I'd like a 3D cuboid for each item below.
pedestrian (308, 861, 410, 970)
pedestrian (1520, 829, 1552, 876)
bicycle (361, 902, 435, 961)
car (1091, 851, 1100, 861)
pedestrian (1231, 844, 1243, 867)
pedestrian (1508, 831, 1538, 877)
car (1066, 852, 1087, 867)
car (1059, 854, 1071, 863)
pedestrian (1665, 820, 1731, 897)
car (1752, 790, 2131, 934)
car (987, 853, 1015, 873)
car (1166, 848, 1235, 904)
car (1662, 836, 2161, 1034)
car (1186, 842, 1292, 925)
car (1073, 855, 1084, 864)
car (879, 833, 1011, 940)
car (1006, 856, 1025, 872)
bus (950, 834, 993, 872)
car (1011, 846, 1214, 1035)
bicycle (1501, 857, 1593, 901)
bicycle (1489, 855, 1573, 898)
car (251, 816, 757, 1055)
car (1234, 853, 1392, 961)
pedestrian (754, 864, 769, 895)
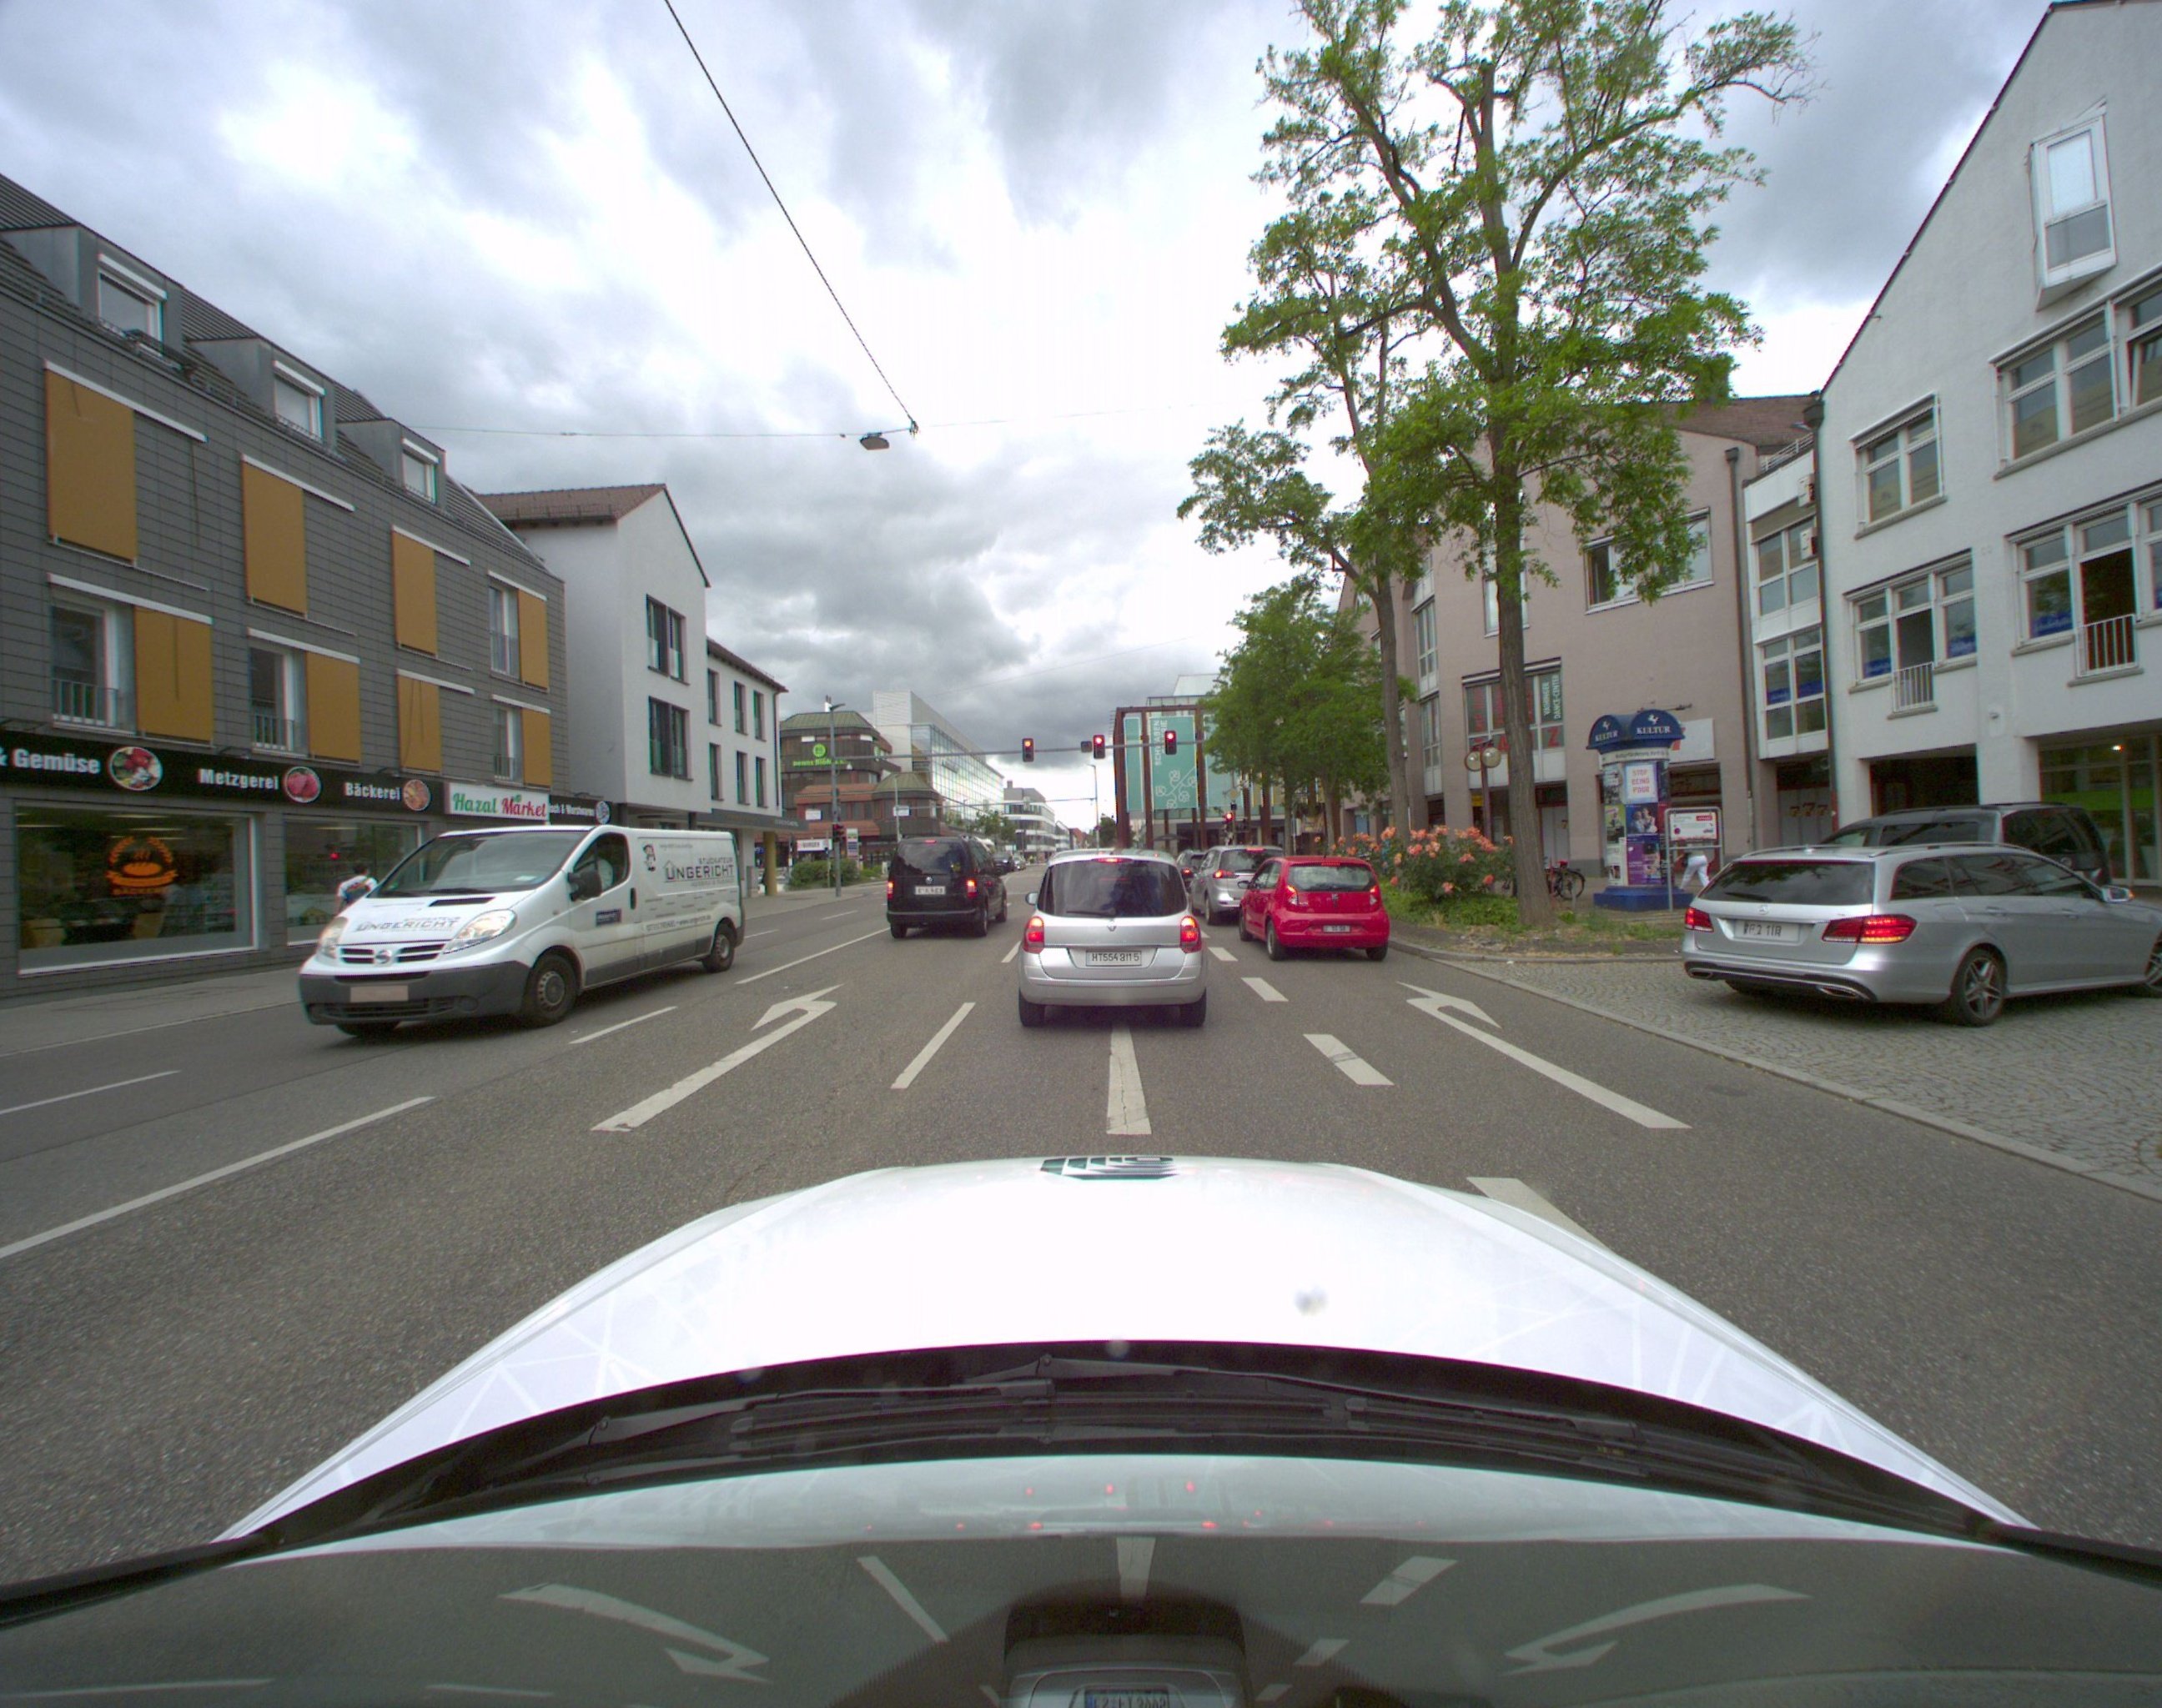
[{"bbox_3d":[-11.869,0.978,13.423,0.751,1.705,0.981,1,0,1],"label":"pedestrian"},{"bbox_3d":[15.426,-0.046,27.614,0.665,1.563,0.618,-2,0,-20],"label":"pedestrian"},{"bbox_3d":[-12.664,1.413,15.144,0.325,0.954,1.478,-2,0,-9],"label":"bicycle"},{"bbox_3d":[3.171,0.398,177.936,1.987,1.949,4.951,-2,0,1],"label":"car"},{"bbox_3d":[11.575,0.091,60.429,0.652,1.650,0.557,-2,0,-13],"label":"pedestrian"},{"bbox_3d":[14.850,-0.008,27.368,0.611,1.515,0.618,-2,0,-20],"label":"pedestrian"},{"bbox_3d":[-0.520,0.595,94.635,1.907,1.677,4.249,-2,0,6],"label":"car"},{"bbox_3d":[-3.018,0.821,152.310,1.793,1.540,4.068,-2,0,3],"label":"car"},{"bbox_3d":[14.135,0.101,18.679,0.786,1.659,0.819,-4,0,1],"label":"pedestrian"},{"bbox_3d":[13.080,0.098,12.805,1.633,1.831,3.963,-3,0,-3],"label":"car"},{"bbox_3d":[-7.142,0.762,72.673,1.987,1.706,4.065,-2,0,0],"label":"car"},{"bbox_3d":[3.600,0.623,25.171,1.581,1.595,3.868,0,0,0],"label":"car"},{"bbox_3d":[8.018,0.597,7.767,4.367,1.448,1.810,-1,1,-18],"label":"car"},{"bbox_3d":[3.374,0.581,18.035,1.581,1.634,3.916,0,0,0],"label":"car"},{"bbox_3d":[-0.443,1.026,157.579,1.793,1.540,4.068,-2,0,3],"label":"car"},{"bbox_3d":[-2.557,0.561,16.442,1.738,1.855,4.636,-1,0,2],"label":"car"},{"bbox_3d":[-6.455,0.972,80.241,1.550,1.392,3.288,-2,0,0],"label":"car"},{"bbox_3d":[-10.085,-0.074,75.742,2.678,3.261,8.653,-2,0,1],"label":"bus"},{"bbox_3d":[0.305,0.704,8.348,1.634,1.527,3.395,-1,0,1],"label":"car"},{"bbox_3d":[11.274,0.597,19.726,1.892,0.997,0.468,-2,0,5],"label":"bicycle"},{"bbox_3d":[11.191,0.565,20.282,1.760,0.997,0.447,-2,0,5],"label":"bicycle"},{"bbox_3d":[-5.858,0.670,9.394,1.986,1.888,5.159,-3,0,1],"label":"car"},{"bbox_3d":[3.427,0.716,12.608,1.581,1.443,3.349,0,0,2],"label":"car"},{"bbox_3d":[-17.827,1.405,45.434,0.705,1.658,0.934,-2,0,-20],"label":"pedestrian"}]
